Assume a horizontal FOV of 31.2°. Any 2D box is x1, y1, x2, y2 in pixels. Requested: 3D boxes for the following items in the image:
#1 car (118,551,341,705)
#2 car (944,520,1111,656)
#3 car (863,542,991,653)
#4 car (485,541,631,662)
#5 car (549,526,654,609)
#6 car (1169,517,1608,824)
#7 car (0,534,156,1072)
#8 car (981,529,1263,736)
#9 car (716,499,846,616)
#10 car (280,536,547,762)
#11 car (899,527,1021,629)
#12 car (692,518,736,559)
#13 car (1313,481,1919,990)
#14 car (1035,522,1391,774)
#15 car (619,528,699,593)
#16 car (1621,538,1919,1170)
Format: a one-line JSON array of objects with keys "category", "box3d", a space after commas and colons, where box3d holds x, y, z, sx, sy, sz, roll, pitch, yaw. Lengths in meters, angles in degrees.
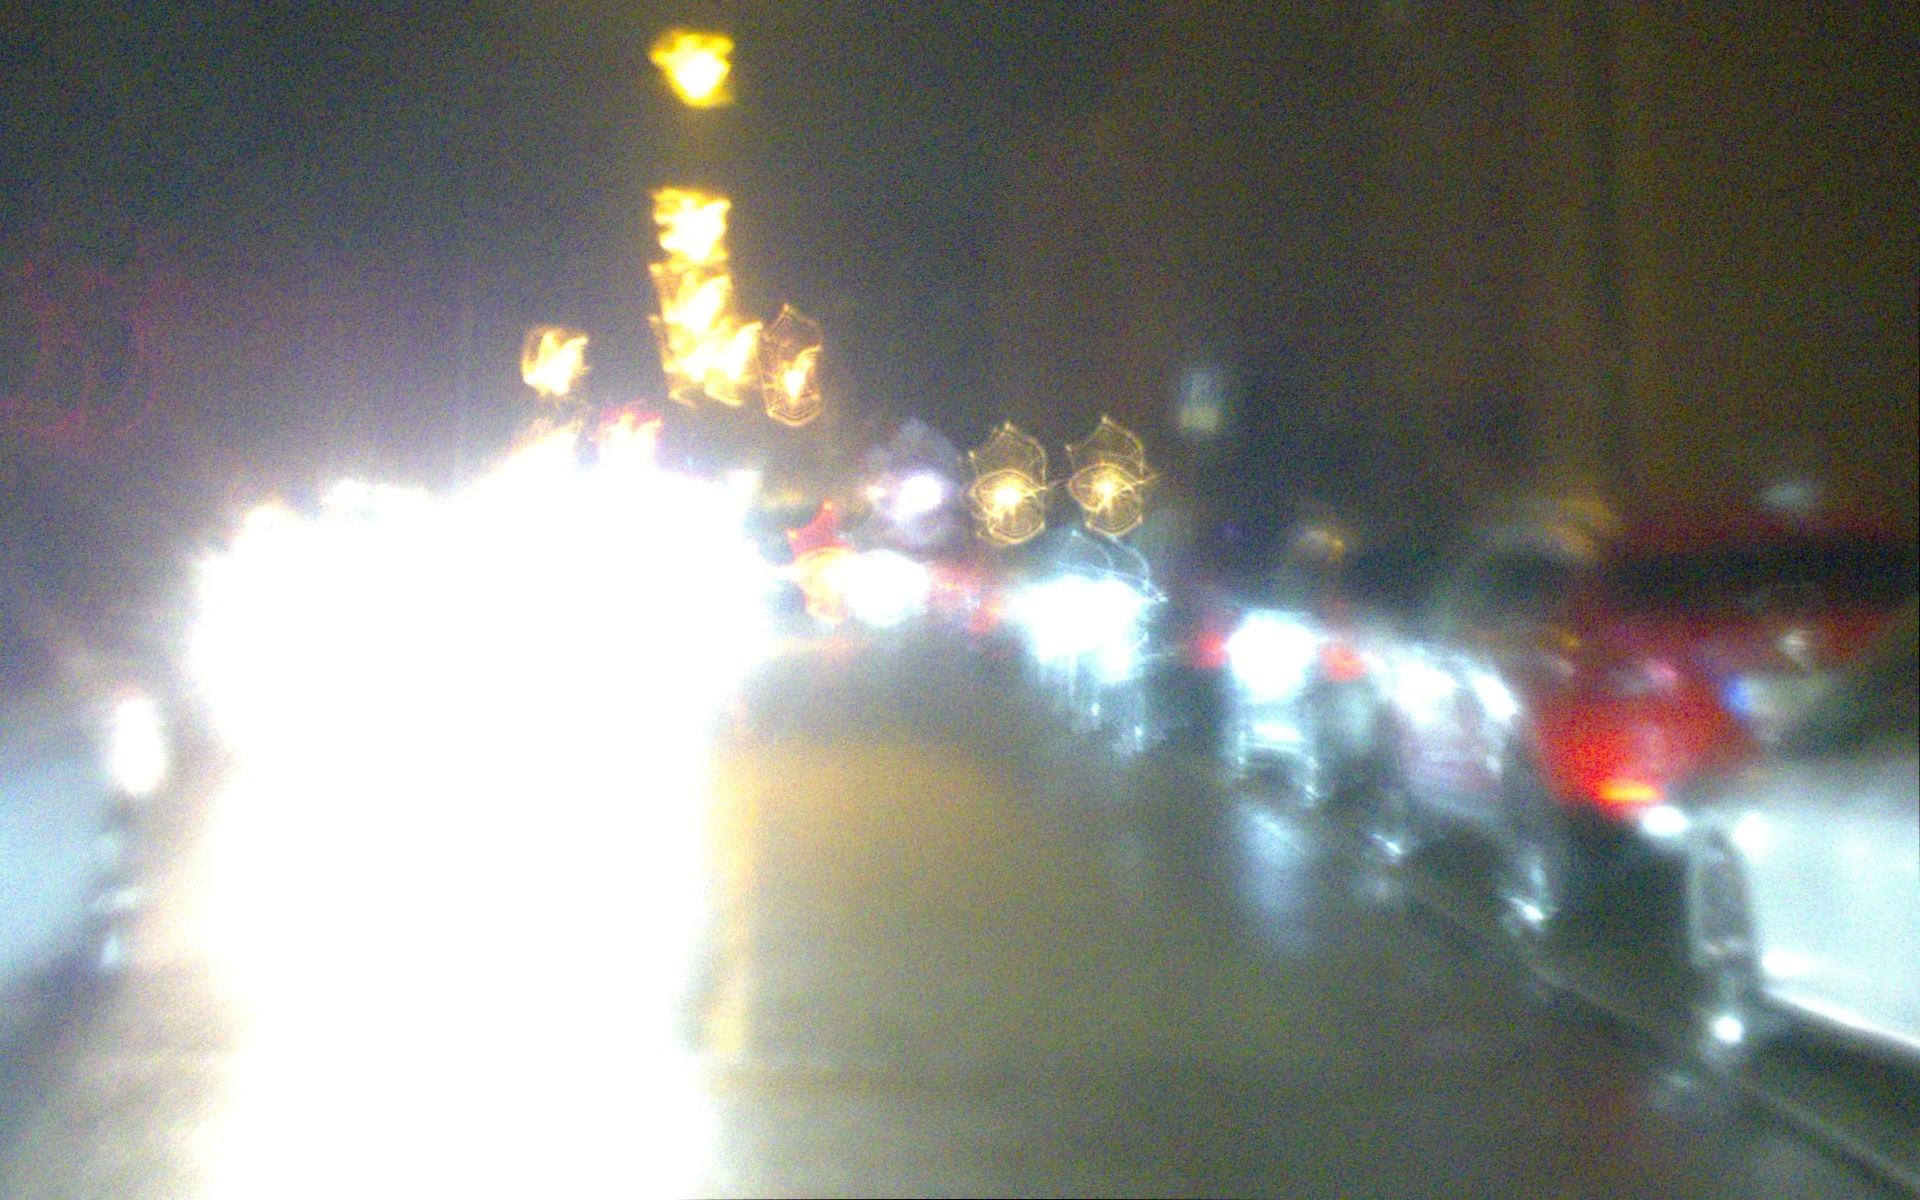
[{"category": "car", "box3d": [-7.843, 0.249, 37.264, 1.577, 1.452, 4.645, -2, 2, -3]}, {"category": "car", "box3d": [0.762, -0.189, 41.738, 1.628, 1.461, 4.511, -3, 2, -3]}, {"category": "car", "box3d": [-0.599, -0.073, 57.853, 1.820, 1.668, 4.001, -3, 2, -4]}, {"category": "car", "box3d": [-5.221, 0.004, 45.079, 1.675, 1.430, 4.513, -2, 1, -4]}, {"category": "car", "box3d": [-6.610, -0.637, 63.700, 1.857, 1.456, 4.524, 0, 1, -5]}, {"category": "car", "box3d": [2.432, 0.327, 20.518, 1.754, 1.523, 4.154, -4, 2, -4]}, {"category": "car", "box3d": [-3.502, 0.553, 9.174, 1.796, 1.456, 4.579, 1, 1, -2]}, {"category": "car", "box3d": [1.379, 0.225, 31.195, 1.880, 1.567, 4.590, -4, 2, -5]}, {"category": "car", "box3d": [-2.899, -0.719, 55.730, 1.993, 1.678, 4.001, -1, 3, -3]}, {"category": "car", "box3d": [-3.842, 0.301, 24.527, 1.547, 1.494, 2.793, 0, 1, -2]}, {"category": "car", "box3d": [-0.026, -0.359, 51.604, 1.495, 1.383, 3.748, -3, 2, -4]}, {"category": "car", "box3d": [-10.866, -2.737, 151.901, 1.812, 1.704, 3.804, -3, 2, -4]}, {"category": "car", "box3d": [2.758, 0.413, 14.325, 1.713, 1.702, 4.188, -4, 2, -5]}, {"category": "car", "box3d": [1.784, 0.276, 25.729, 1.880, 1.567, 4.529, -4, 2, -5]}, {"category": "car", "box3d": [-7.174, -0.971, 82.021, 1.820, 1.458, 4.867, 0, 2, -5]}, {"category": "car", "box3d": [3.100, 0.584, 8.674, 1.713, 1.483, 4.437, -2, 1, -3]}]
